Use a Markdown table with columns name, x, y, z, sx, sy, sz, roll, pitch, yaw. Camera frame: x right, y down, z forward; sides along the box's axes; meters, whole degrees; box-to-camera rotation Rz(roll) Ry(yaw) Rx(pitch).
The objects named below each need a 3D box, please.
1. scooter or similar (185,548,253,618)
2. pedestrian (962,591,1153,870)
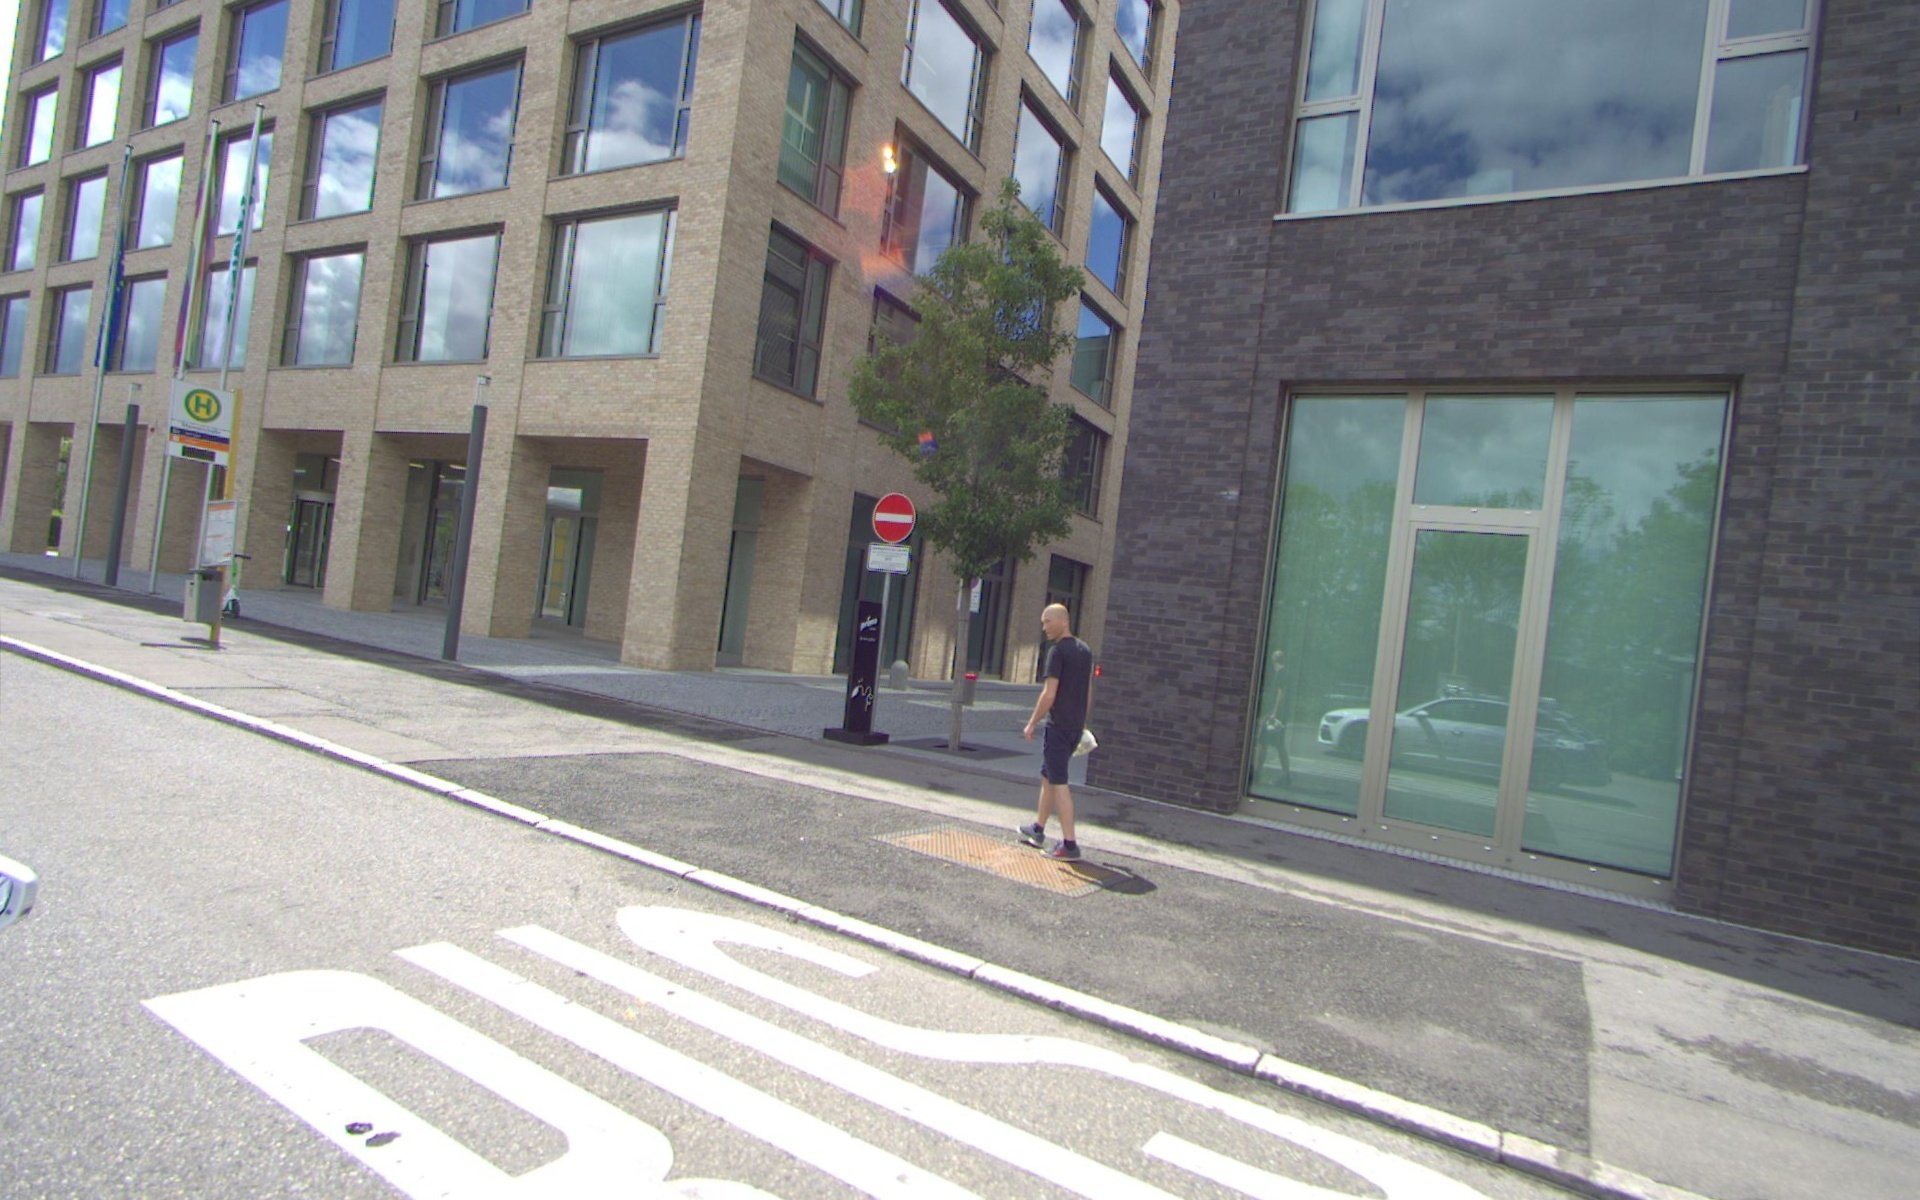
| name | x | y | z | sx | sy | sz | roll | pitch | yaw |
| --- | --- | --- | --- | --- | --- | --- | --- | --- | --- |
| scooter or similar | -13.849 | -0.319 | 18.801 | 1.380 | 1.167 | 0.427 | 6 | 0 | 31 |
| pedestrian | 0.699 | 0.887 | 7.131 | 0.946 | 1.748 | 0.684 | 7 | -1 | 31 |
